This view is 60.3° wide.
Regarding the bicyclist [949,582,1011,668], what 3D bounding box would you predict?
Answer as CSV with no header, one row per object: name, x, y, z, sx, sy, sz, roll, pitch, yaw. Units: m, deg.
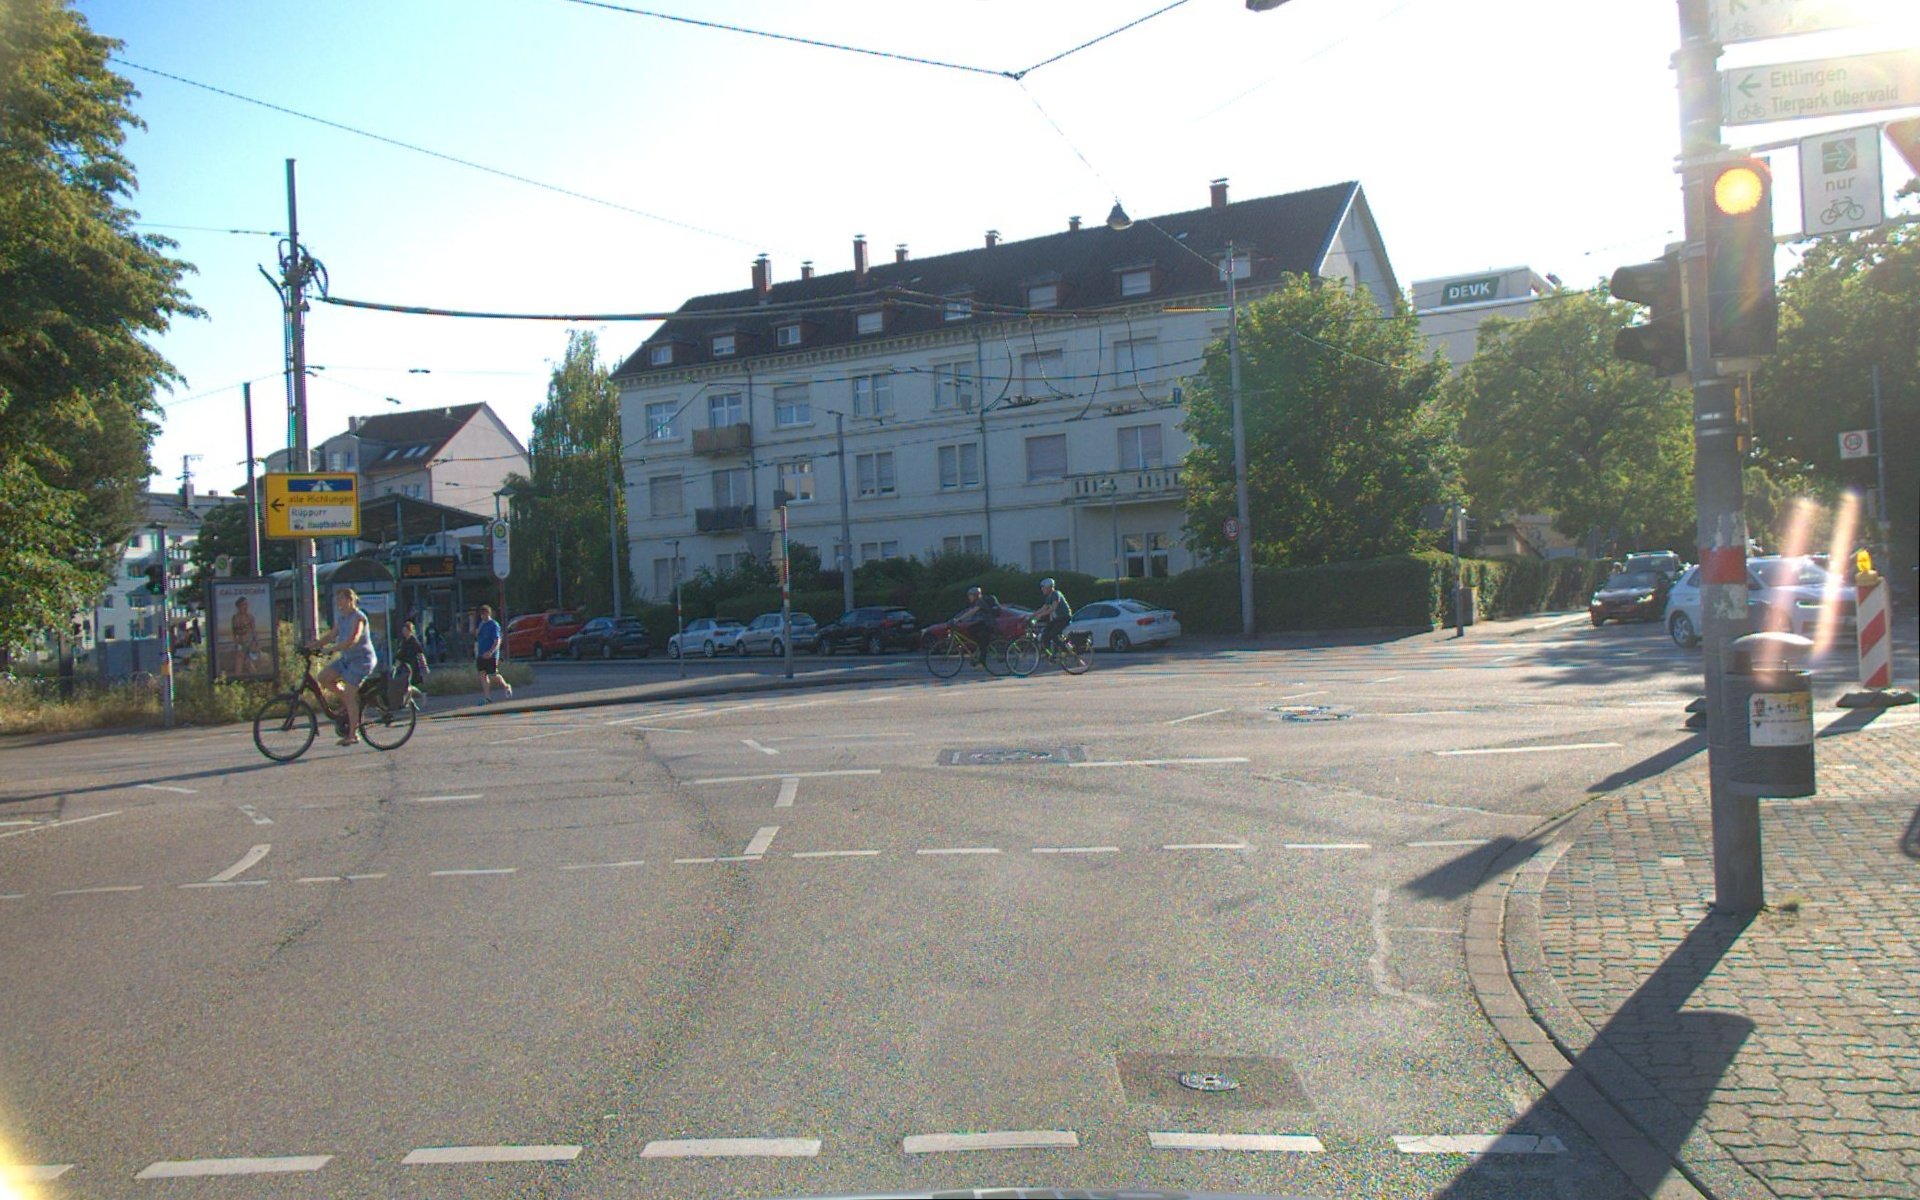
bicyclist,0.380,0.463,31.226,1.015,1.558,0.659,-3,0,-9

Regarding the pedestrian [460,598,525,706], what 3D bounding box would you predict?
pedestrian,-8.896,0.974,31.514,0.894,1.958,1.066,-3,0,-4

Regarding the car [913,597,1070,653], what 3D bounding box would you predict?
car,0.915,0.770,50.125,4.625,1.400,1.974,-3,2,44

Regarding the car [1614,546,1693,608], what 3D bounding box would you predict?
car,25.348,-0.865,60.337,2.308,2.049,5.306,-3,0,26

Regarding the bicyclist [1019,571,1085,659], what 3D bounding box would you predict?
bicyclist,1.683,0.270,30.421,1.015,1.558,0.696,-3,0,-11

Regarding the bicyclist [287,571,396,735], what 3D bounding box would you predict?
bicyclist,-6.462,0.541,17.268,0.848,1.633,0.767,-3,0,-35

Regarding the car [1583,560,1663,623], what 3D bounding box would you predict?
car,18.612,-0.276,46.337,1.856,1.591,4.391,-3,0,24

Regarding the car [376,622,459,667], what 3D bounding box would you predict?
car,-27.191,2.233,82.786,2.039,1.995,5.073,-6,2,-41

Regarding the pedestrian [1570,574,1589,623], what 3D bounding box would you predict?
pedestrian,22.616,-0.048,60.377,0.567,1.761,0.608,-3,0,23

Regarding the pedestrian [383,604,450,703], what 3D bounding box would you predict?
pedestrian,-10.240,0.992,31.191,0.894,1.777,1.066,-3,0,-4

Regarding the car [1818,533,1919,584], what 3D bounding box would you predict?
car,40.817,-1.822,73.122,4.990,1.958,2.360,-3,-2,26

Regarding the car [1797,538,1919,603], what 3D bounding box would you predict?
car,31.343,-1.014,55.672,5.510,1.958,2.360,-3,-2,26

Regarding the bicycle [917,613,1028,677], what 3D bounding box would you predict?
bicycle,0.222,0.839,31.180,1.975,1.087,0.662,-3,0,-9

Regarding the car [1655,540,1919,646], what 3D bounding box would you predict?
car,13.355,-0.104,26.998,1.856,1.512,3.992,-3,0,-9

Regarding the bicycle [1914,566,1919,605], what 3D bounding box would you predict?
bicycle,24.373,-0.396,40.505,1.691,0.949,0.561,-3,0,29

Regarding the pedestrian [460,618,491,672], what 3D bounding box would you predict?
pedestrian,-19.083,1.766,65.160,0.914,2.048,0.759,-3,0,-37

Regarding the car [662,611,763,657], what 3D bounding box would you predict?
car,-9.174,1.275,61.214,1.830,1.472,3.899,-6,2,-41

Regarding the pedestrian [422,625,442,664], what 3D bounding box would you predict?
pedestrian,-21.129,1.791,66.171,0.560,1.527,0.672,-3,0,-29

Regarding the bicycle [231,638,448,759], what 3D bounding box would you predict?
bicycle,-6.465,1.002,17.291,1.996,1.087,0.655,-3,0,-36

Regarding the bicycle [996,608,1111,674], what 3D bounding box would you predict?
bicycle,1.708,0.742,30.340,1.977,1.087,0.661,-3,0,-12

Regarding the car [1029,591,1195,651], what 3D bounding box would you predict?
car,4.200,0.593,46.182,1.916,1.400,4.426,-6,2,-43

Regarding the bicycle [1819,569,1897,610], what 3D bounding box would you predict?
bicycle,22.775,-0.260,41.983,1.690,0.949,0.671,-3,0,29

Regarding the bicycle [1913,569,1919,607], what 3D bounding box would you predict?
bicycle,24.733,-0.341,41.184,1.691,0.949,0.561,-3,0,29

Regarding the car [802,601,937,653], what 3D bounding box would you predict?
car,-3.030,0.912,54.572,1.970,1.472,4.634,-6,2,-41

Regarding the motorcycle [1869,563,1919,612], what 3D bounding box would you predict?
motorcycle,22.936,-0.326,39.594,1.912,1.128,0.837,-3,0,24

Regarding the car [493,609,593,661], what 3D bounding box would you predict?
car,-18.162,1.522,71.950,2.039,1.995,5.073,-6,2,-41

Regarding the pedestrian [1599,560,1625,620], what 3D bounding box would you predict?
pedestrian,20.751,-0.309,52.632,0.648,1.871,0.682,-3,0,28

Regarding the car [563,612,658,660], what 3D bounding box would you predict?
car,-14.192,1.479,66.971,1.830,1.696,4.304,-6,2,-41

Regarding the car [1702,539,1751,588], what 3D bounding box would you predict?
car,43.112,-2.026,92.947,2.308,2.558,5.306,-3,0,26

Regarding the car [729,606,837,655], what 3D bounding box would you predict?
car,-6.210,1.086,57.768,1.970,1.472,3.663,-6,2,-41
